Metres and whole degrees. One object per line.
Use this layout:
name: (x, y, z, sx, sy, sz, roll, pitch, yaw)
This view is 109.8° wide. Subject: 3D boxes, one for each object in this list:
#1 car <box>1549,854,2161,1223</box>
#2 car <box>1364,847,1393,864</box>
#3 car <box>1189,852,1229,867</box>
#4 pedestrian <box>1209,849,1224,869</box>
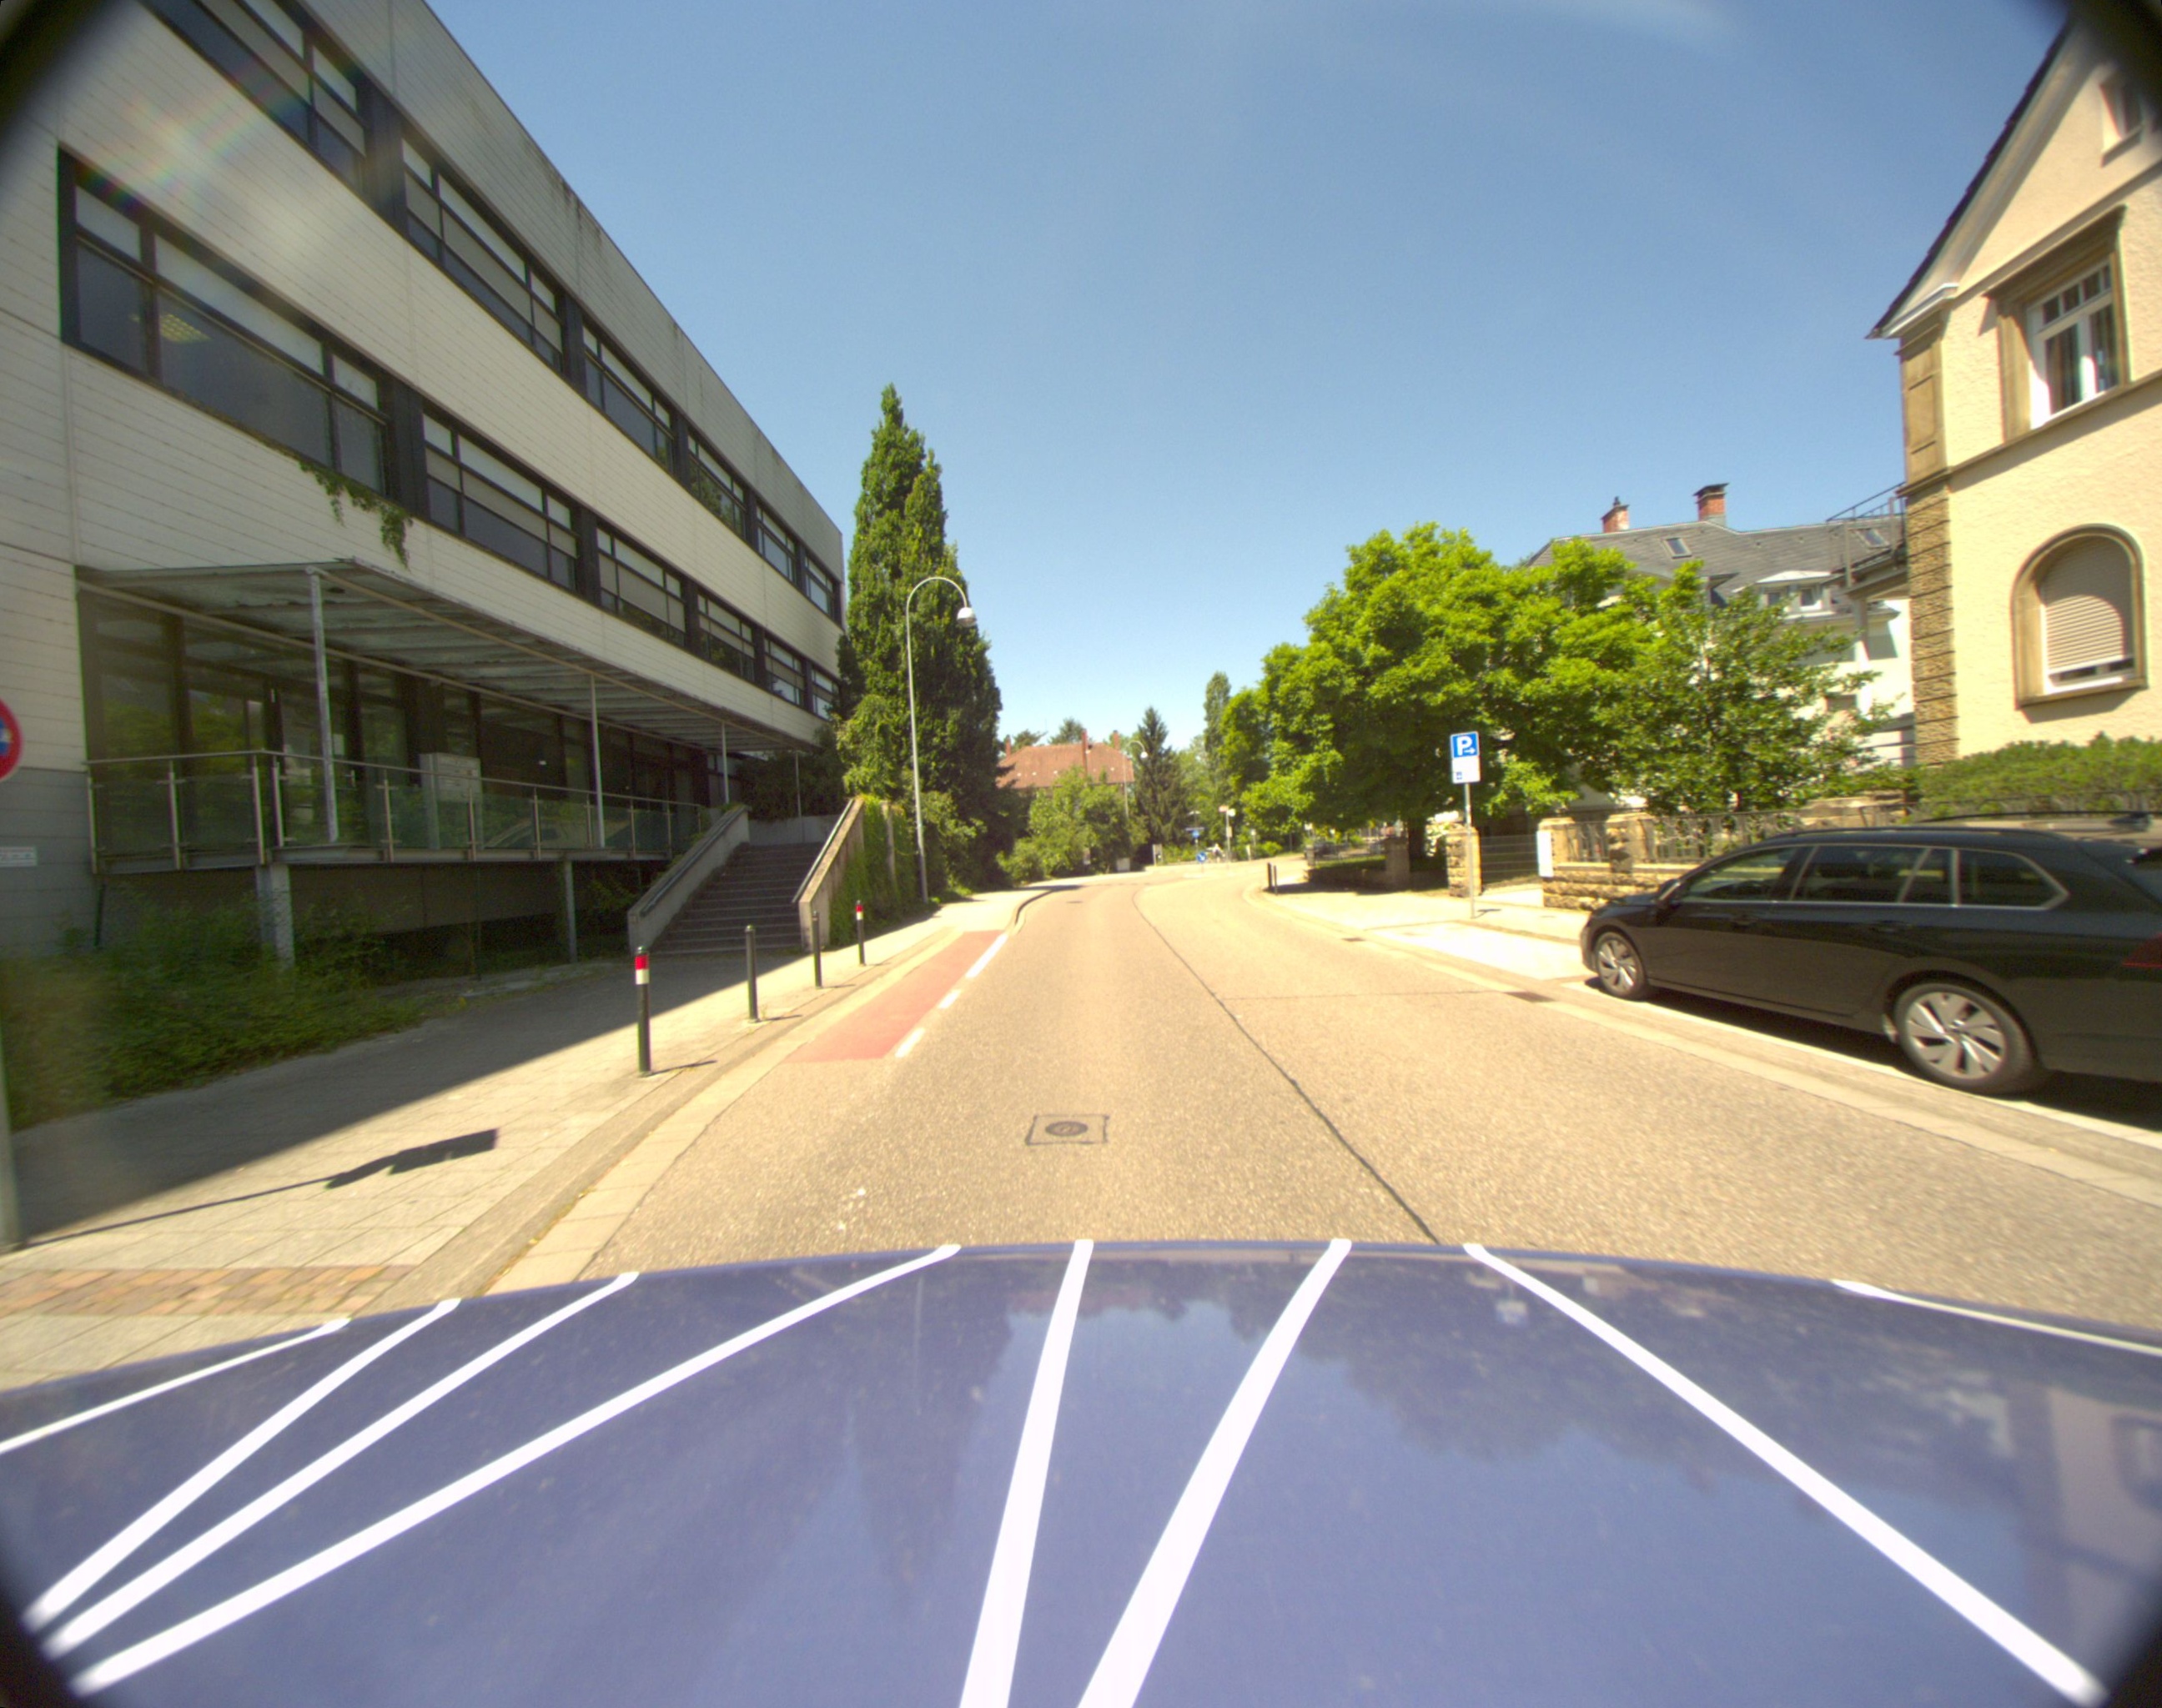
car: (5.645, 0.810, 5.218, 1.930, 1.428, 4.659, -6, 0, 1)
car: (27.528, 0.103, 70.296, 1.759, 1.427, 4.312, -2, 0, 31)
car: (15.202, 0.651, 90.443, 4.496, 1.491, 1.770, -4, 0, 1)
pedestrian: (12.373, 0.430, 69.308, 0.917, 1.762, 0.912, -4, 2, -40)
